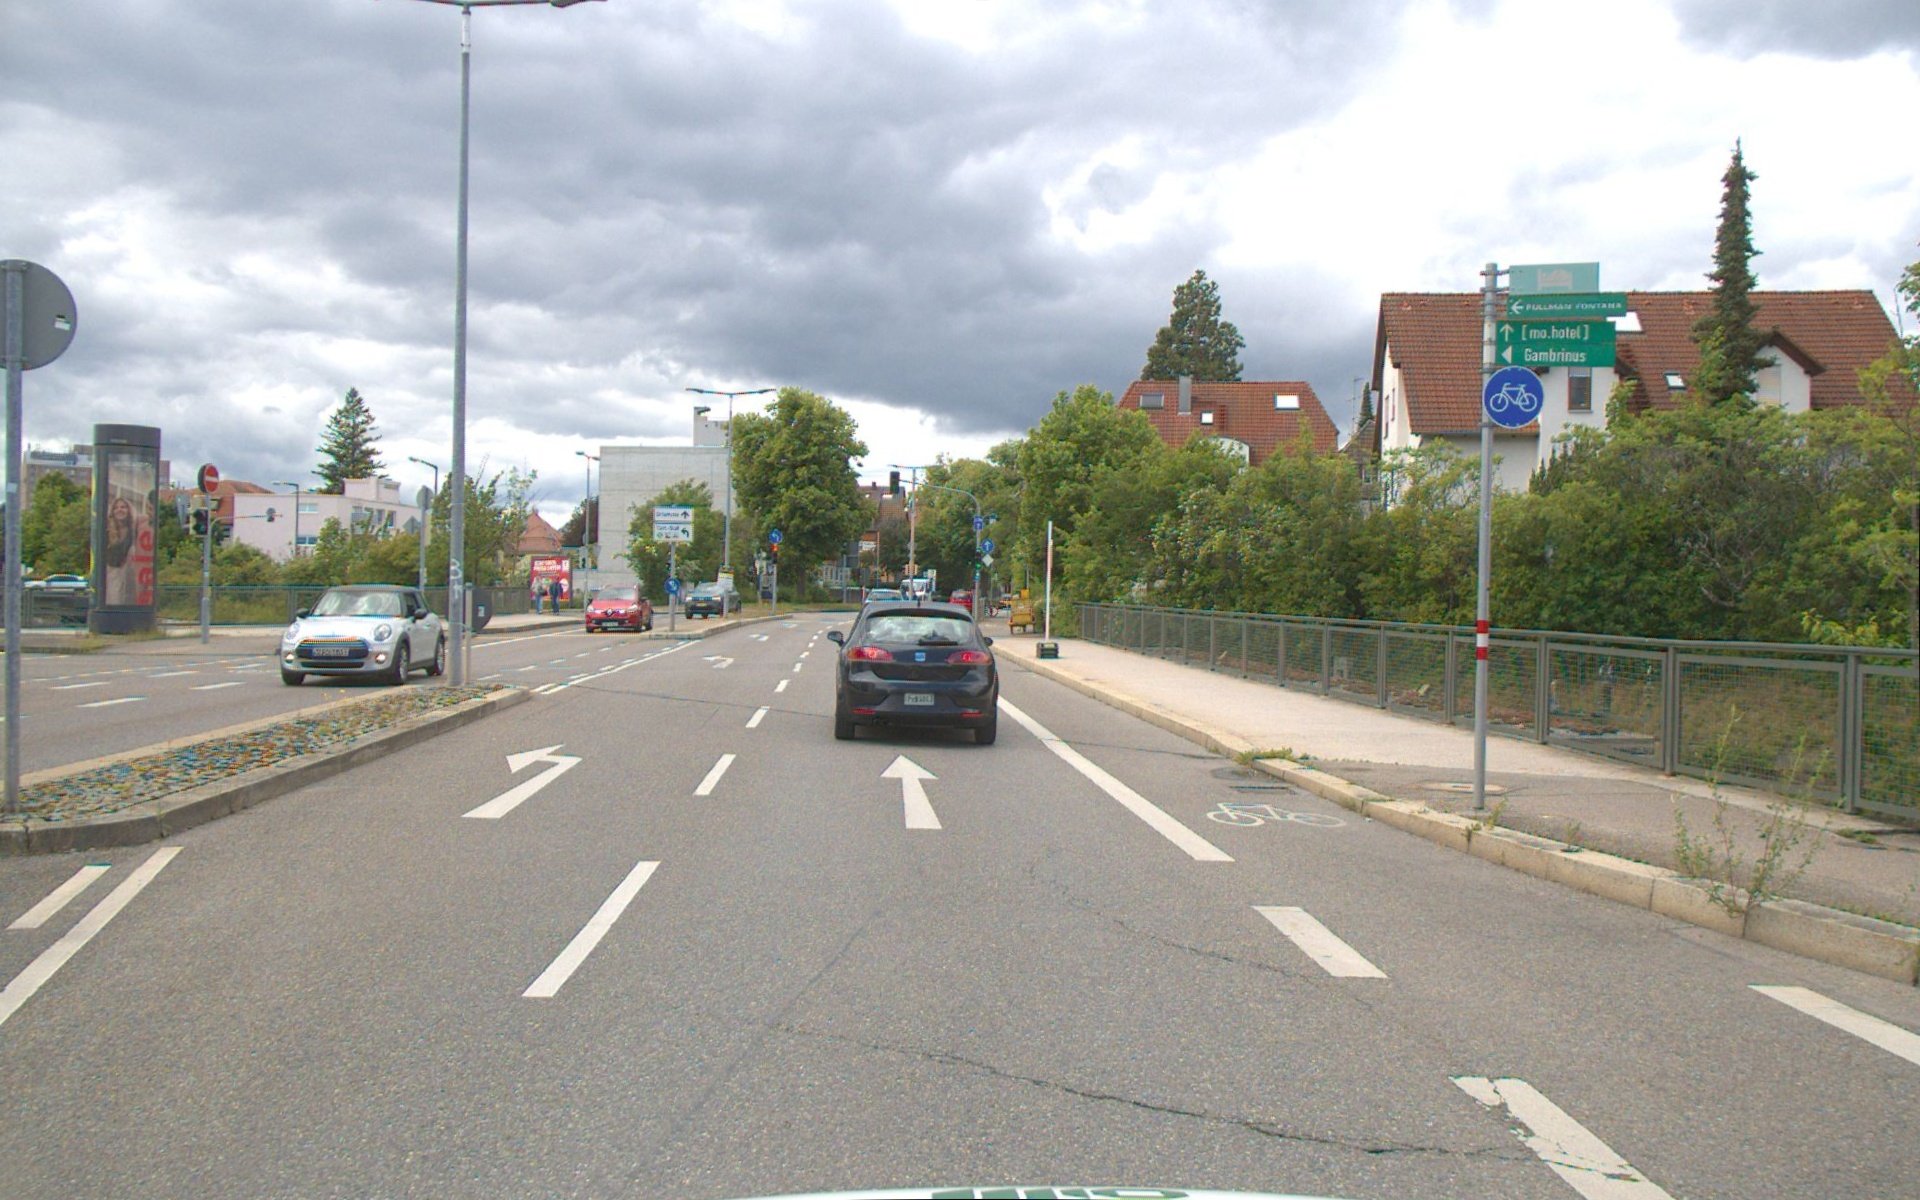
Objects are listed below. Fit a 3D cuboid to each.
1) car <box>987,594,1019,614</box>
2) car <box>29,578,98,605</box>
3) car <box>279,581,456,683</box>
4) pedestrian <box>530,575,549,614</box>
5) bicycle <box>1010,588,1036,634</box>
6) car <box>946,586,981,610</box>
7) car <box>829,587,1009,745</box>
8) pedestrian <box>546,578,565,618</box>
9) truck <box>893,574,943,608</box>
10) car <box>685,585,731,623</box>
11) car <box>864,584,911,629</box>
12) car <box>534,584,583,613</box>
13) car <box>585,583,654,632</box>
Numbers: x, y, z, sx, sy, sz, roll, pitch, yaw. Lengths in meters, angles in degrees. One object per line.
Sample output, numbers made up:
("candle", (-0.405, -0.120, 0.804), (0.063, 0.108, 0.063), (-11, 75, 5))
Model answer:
("car", (3.665, 0.334, 140.720), (1.951, 1.713, 4.003), (1, 0, 13))
("car", (-60.461, -0.598, 111.563), (3.954, 1.691, 1.715), (1, 2, -35))
("car", (-8.927, 0.447, 25.216), (1.611, 1.433, 3.815), (0, 0, -5))
("pedestrian", (-18.025, -0.241, 70.855), (0.644, 1.662, 0.831), (2, 0, -10))
("bicycle", (2.184, 0.363, 57.845), (0.873, 1.537, 2.784), (0, 0, 2))
("car", (0.221, -0.142, 107.811), (1.904, 1.507, 4.248), (0, 1, -5))
("car", (-0.407, 0.646, 18.377), (1.723, 1.474, 3.714), (3, 1, 0))
("pedestrian", (-17.321, -0.095, 70.900), (0.644, 1.662, 1.068), (2, 0, -9))
("truck", (-2.951, -0.635, 118.633), (2.080, 2.304, 6.811), (0, 0, 12))
("car", (-11.343, 0.181, 74.665), (1.787, 1.655, 4.274), (0, 0, -5))
("car", (-2.825, 0.232, 65.339), (1.782, 1.729, 4.251), (0, 1, -2))
("car", (-31.244, -0.084, 128.830), (1.952, 2.048, 4.002), (3, 0, 16))
("car", (-10.921, 0.219, 53.217), (1.687, 1.473, 4.062), (1, 0, -5))
